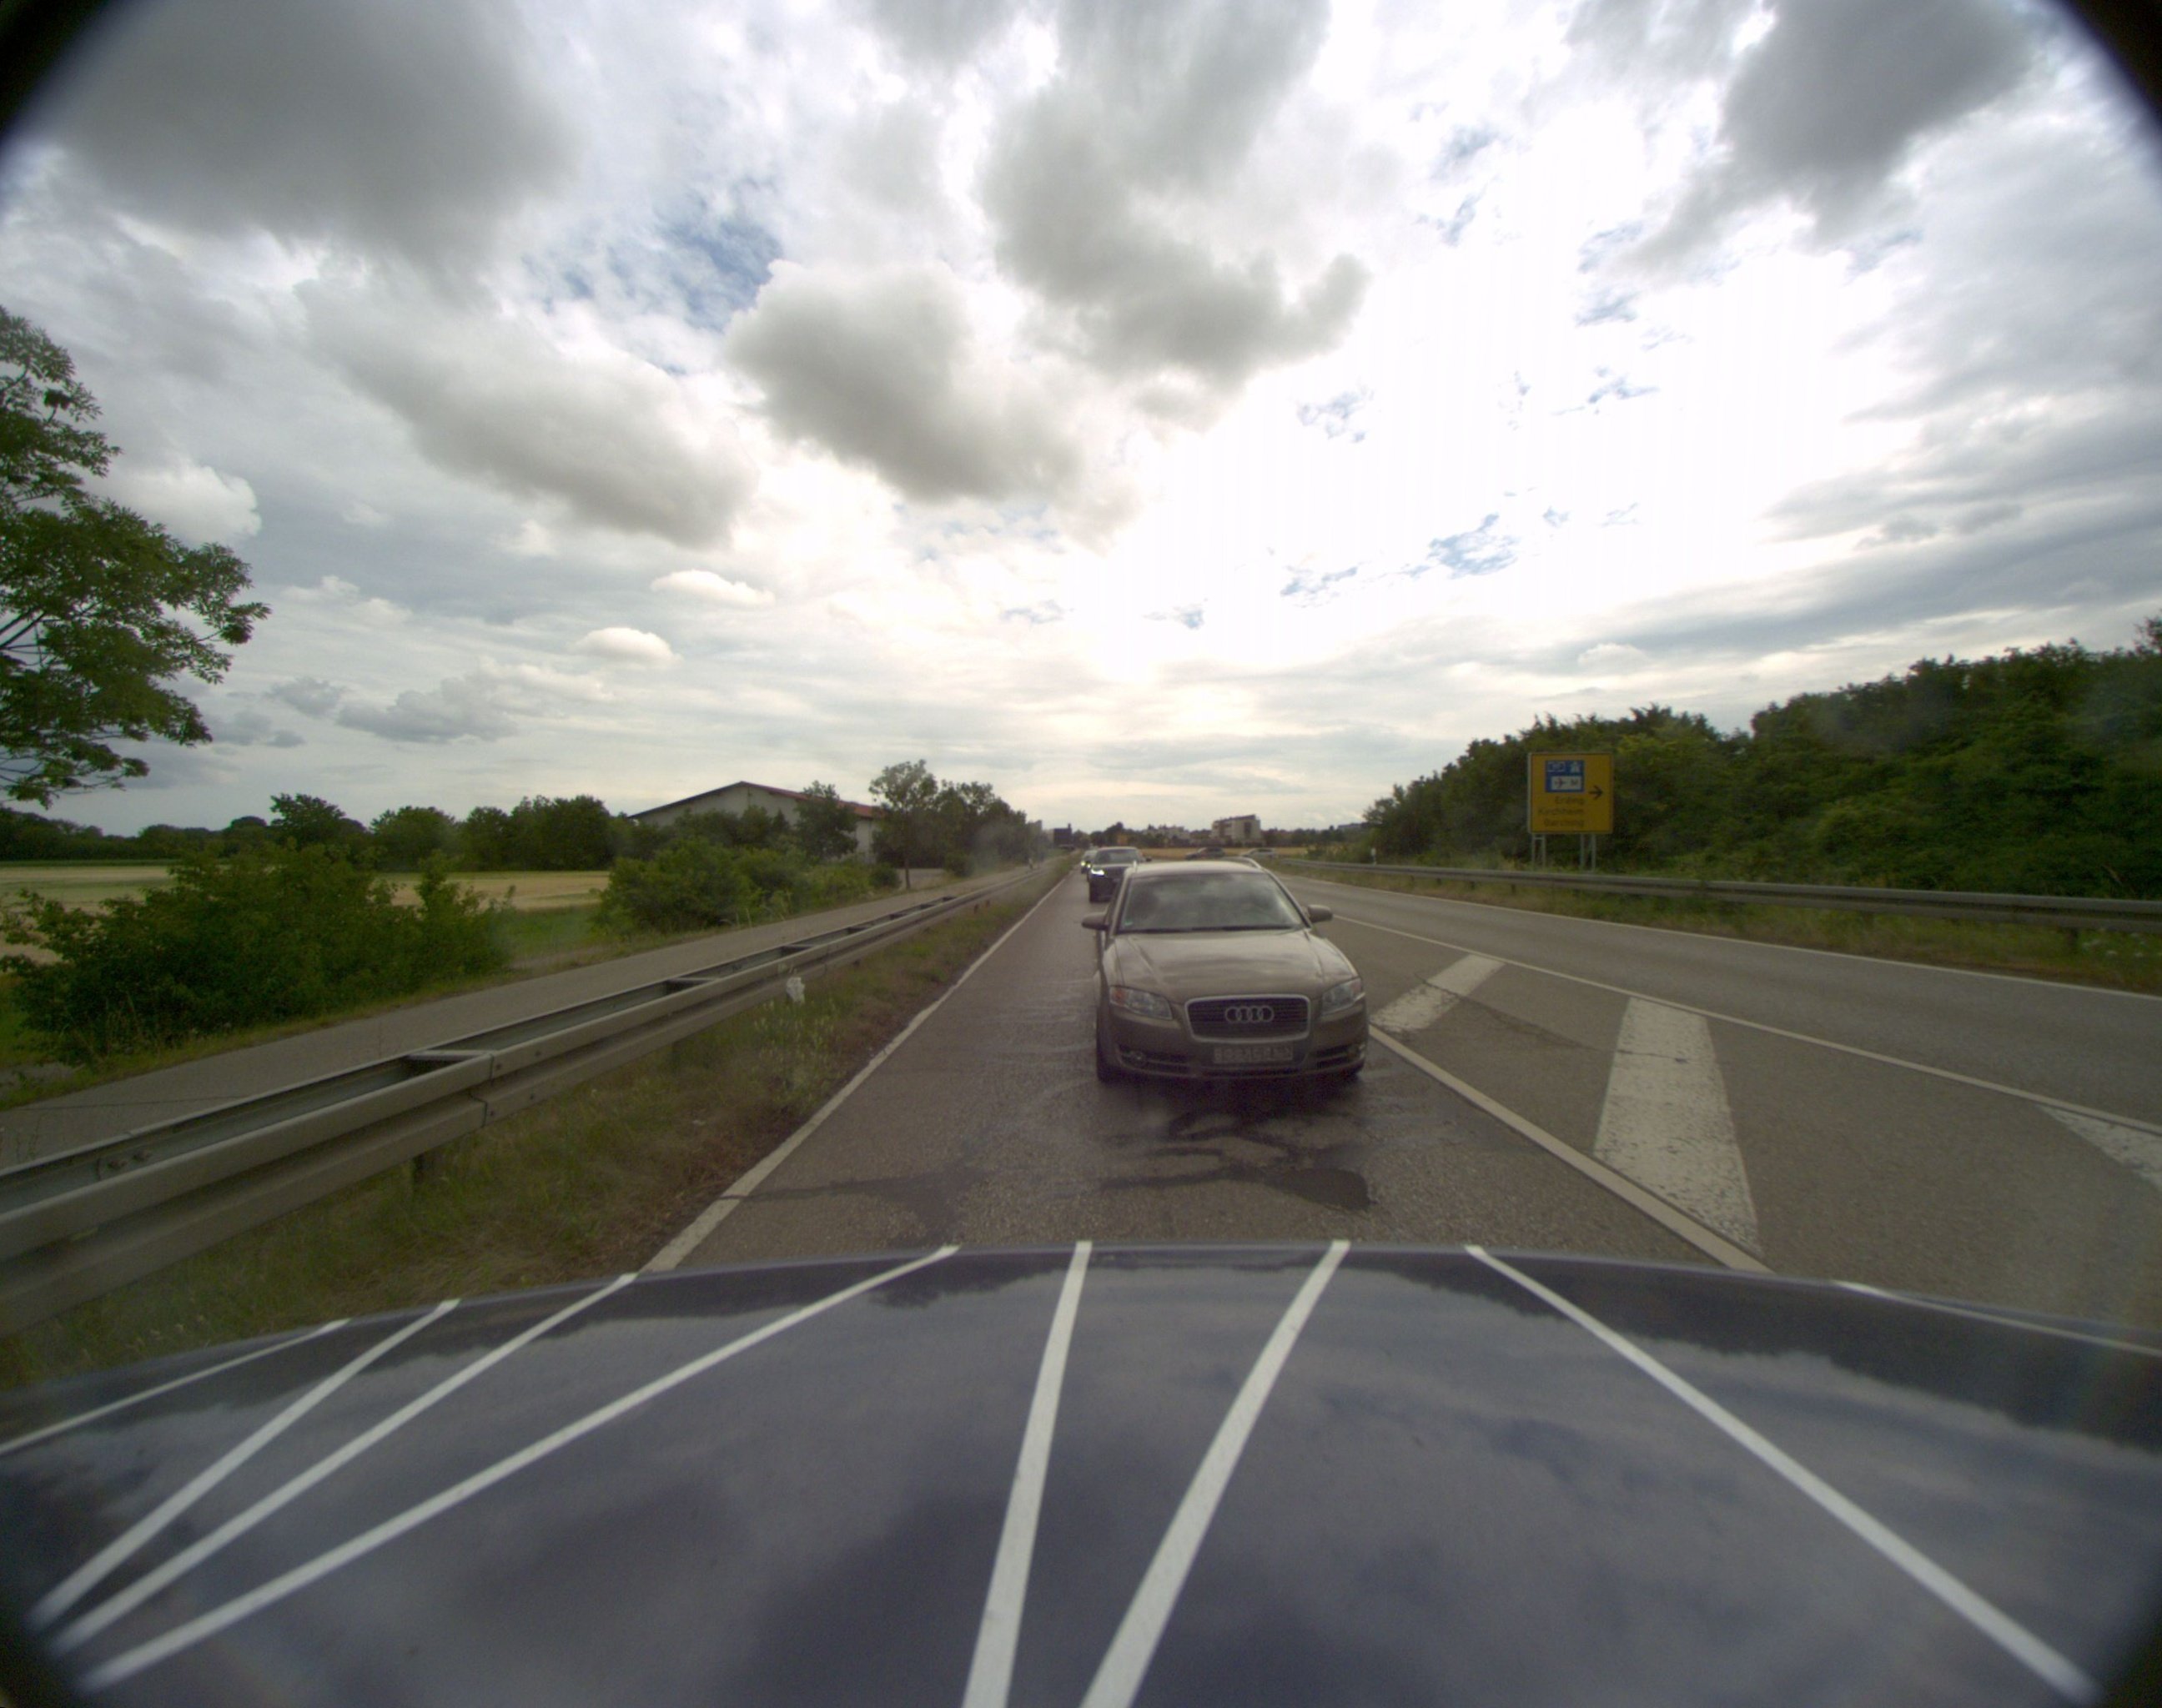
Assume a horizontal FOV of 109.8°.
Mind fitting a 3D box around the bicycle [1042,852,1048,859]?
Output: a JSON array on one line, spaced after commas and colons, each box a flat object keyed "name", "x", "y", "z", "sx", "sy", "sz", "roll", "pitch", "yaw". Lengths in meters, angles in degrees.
[{"name": "bicycle", "x": -4.869, "y": 0.165, "z": 103.346, "sx": 0.640, "sy": 0.973, "sz": 2.072, "roll": -1, "pitch": 1, "yaw": 1}]

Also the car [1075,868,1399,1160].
[{"name": "car", "x": 0.873, "y": 0.909, "z": 6.222, "sx": 1.730, "sy": 1.436, "sz": 4.204, "roll": -1, "pitch": 1, "yaw": 1}]

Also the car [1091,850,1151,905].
[{"name": "car", "x": 1.213, "y": 0.687, "z": 24.561, "sx": 1.730, "sy": 1.534, "sz": 4.204, "roll": -2, "pitch": 1, "yaw": 1}]

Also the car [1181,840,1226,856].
[{"name": "car", "x": 14.340, "y": -0.689, "z": 89.039, "sx": 4.815, "sy": 1.680, "sz": 1.999, "roll": -1, "pitch": 1, "yaw": -3}]

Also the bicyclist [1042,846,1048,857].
[{"name": "bicyclist", "x": -4.877, "y": -0.339, "z": 103.316, "sx": 0.640, "sy": 1.573, "sz": 0.969, "roll": -1, "pitch": 1, "yaw": 1}]

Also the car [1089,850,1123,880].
[{"name": "car", "x": 1.353, "y": 0.567, "z": 41.925, "sx": 1.730, "sy": 1.478, "sz": 4.204, "roll": -2, "pitch": 1, "yaw": 1}]

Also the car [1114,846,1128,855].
[{"name": "car", "x": 7.041, "y": -0.685, "z": 133.556, "sx": 1.999, "sy": 1.481, "sz": 3.837, "roll": -1, "pitch": 1, "yaw": -3}]

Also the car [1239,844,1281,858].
[{"name": "car", "x": 20.940, "y": -0.378, "z": 88.855, "sx": 4.672, "sy": 1.490, "sz": 2.001, "roll": -1, "pitch": 1, "yaw": 10}]

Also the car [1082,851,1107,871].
[{"name": "car", "x": 0.992, "y": 0.503, "z": 57.411, "sx": 1.730, "sy": 1.436, "sz": 4.204, "roll": -2, "pitch": 1, "yaw": 1}]

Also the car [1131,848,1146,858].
[{"name": "car", "x": 8.452, "y": -0.137, "z": 112.512, "sx": 1.804, "sy": 1.442, "sz": 4.445, "roll": -1, "pitch": 1, "yaw": 0}]
